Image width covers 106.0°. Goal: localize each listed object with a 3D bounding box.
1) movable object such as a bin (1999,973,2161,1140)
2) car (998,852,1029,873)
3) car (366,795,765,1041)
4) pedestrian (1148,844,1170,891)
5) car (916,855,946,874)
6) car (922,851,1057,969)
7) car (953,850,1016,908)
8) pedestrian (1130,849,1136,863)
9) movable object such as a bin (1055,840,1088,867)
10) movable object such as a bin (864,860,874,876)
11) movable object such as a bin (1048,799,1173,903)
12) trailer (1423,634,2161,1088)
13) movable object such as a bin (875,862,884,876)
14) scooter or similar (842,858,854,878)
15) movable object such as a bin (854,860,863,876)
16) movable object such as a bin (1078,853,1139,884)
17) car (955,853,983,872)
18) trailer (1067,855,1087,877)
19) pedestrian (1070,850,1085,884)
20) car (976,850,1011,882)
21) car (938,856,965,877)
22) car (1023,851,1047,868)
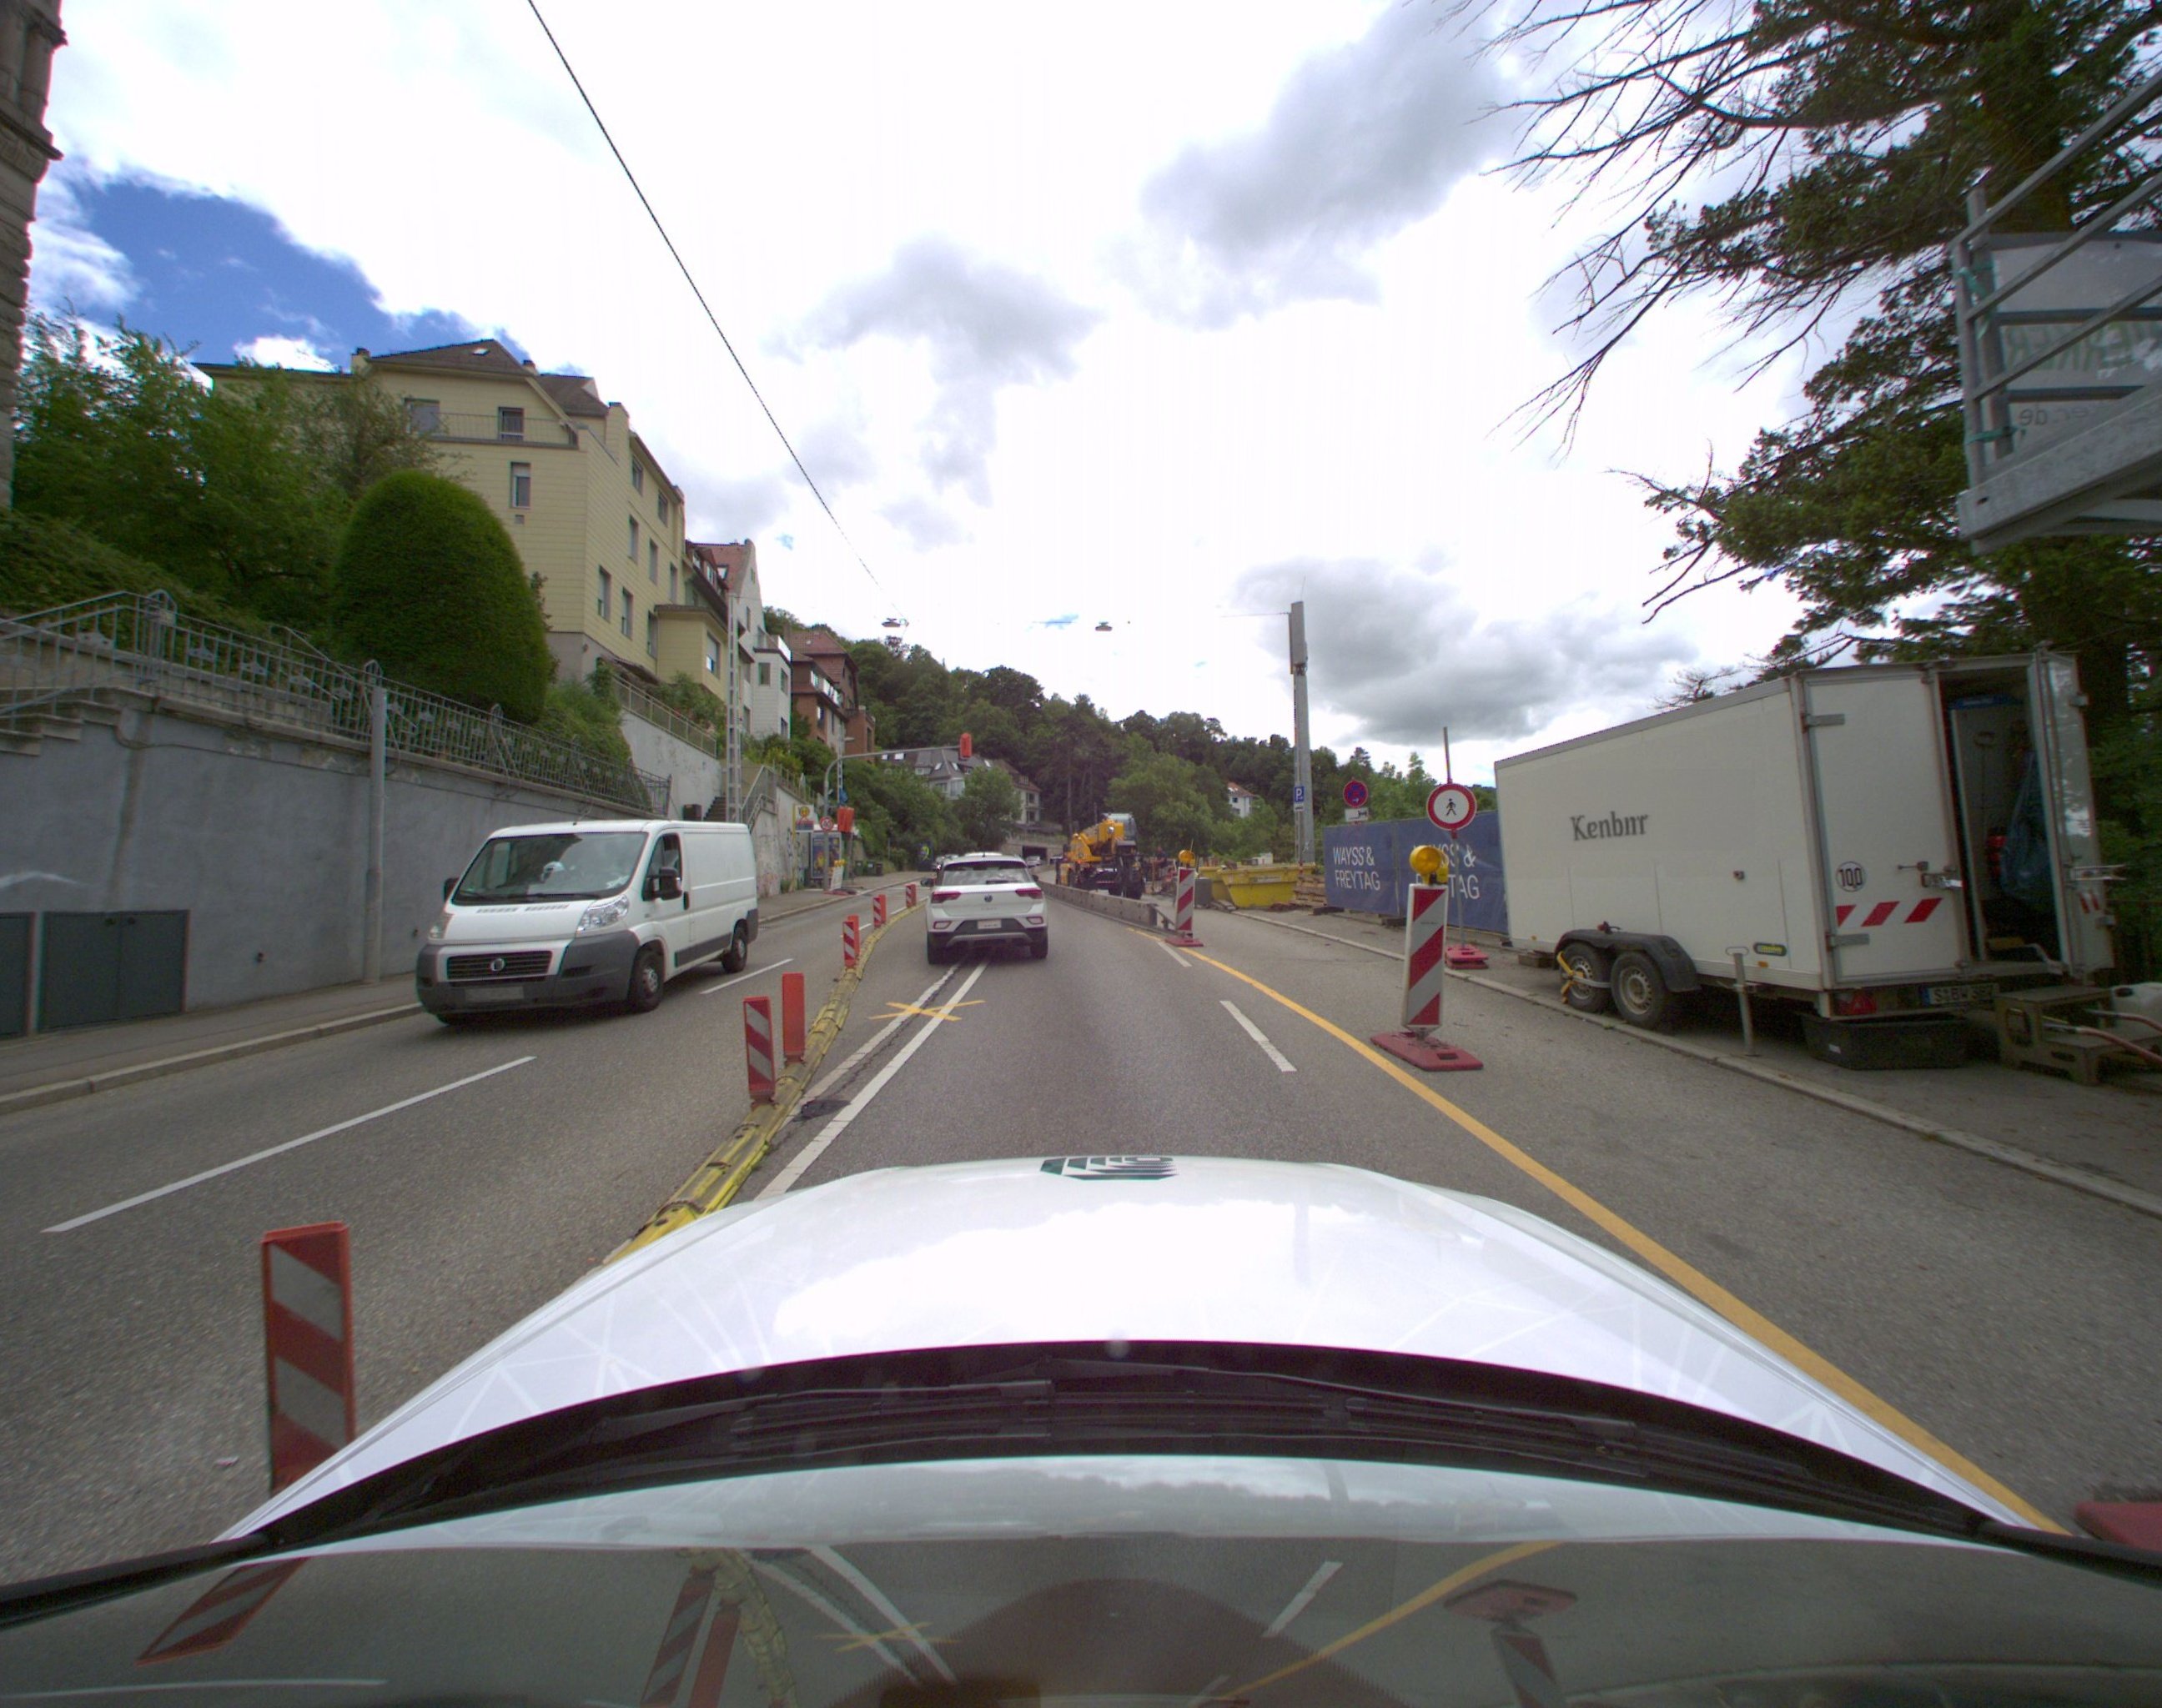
[{"bbox_3d":[5.348,0.986,3.981,0.702,0.640,0.886,-3,0,1],"label":"movable object such as a bin"},{"bbox_3d":[-5.690,0.733,69.342,1.800,1.663,4.007,-2,0,6],"label":"car"},{"bbox_3d":[-5.784,0.581,10.139,2.064,2.187,4.953,-3,0,-6],"label":"car"},{"bbox_3d":[3.056,0.518,32.013,0.691,1.795,0.536,-1,0,-18],"label":"pedestrian"},{"bbox_3d":[-13.061,0.901,71.150,1.788,1.510,4.000,1,0,0],"label":"car"},{"bbox_3d":[-1.584,0.770,13.229,1.810,1.531,3.986,-2,0,-10],"label":"car"},{"bbox_3d":[-3.190,0.755,26.515,1.809,1.663,3.988,-2,0,-9],"label":"car"},{"bbox_3d":[6.977,0.253,108.709,0.687,1.906,0.826,-2,0,5],"label":"pedestrian"},{"bbox_3d":[-0.904,-0.047,81.578,2.197,2.663,4.961,-1,0,12],"label":"movable object such as a bin"},{"bbox_3d":[-13.897,0.912,53.394,0.467,1.053,0.623,1,0,-6],"label":"movable object such as a bin"},{"bbox_3d":[0.752,-0.100,28.231,2.811,3.071,7.797,0,0,-9],"label":"movable object such as a bin"},{"bbox_3d":[5.329,0.024,7.335,2.101,2.549,5.115,-3,0,-2],"label":"trailer"},{"bbox_3d":[-13.209,0.985,53.481,0.467,0.934,0.623,1,0,-6],"label":"movable object such as a bin"},{"bbox_3d":[-13.781,0.820,48.158,0.459,1.205,1.431,1,0,-8],"label":"scooter or similar"},{"bbox_3d":[-14.588,0.911,53.326,0.467,1.053,0.623,1,0,-6],"label":"movable object such as a bin"},{"bbox_3d":[1.428,0.756,45.886,2.372,1.561,7.081,0,0,-7],"label":"movable object such as a bin"},{"bbox_3d":[-9.946,0.749,72.610,1.835,1.599,4.264,-1,0,1],"label":"car"},{"bbox_3d":[-0.266,0.820,56.902,1.284,1.475,3.634,-1,0,1],"label":"trailer"},{"bbox_3d":[-0.182,0.668,41.781,0.644,1.701,0.848,0,0,-6],"label":"pedestrian"},{"bbox_3d":[-4.824,0.637,45.238,1.807,1.663,3.992,-2,0,-6],"label":"car"},{"bbox_3d":[-9.328,0.901,58.837,1.669,1.430,3.581,-1,0,-5],"label":"car"},{"bbox_3d":[-4.800,0.560,84.742,1.800,1.663,4.007,-2,0,6],"label":"car"}]
